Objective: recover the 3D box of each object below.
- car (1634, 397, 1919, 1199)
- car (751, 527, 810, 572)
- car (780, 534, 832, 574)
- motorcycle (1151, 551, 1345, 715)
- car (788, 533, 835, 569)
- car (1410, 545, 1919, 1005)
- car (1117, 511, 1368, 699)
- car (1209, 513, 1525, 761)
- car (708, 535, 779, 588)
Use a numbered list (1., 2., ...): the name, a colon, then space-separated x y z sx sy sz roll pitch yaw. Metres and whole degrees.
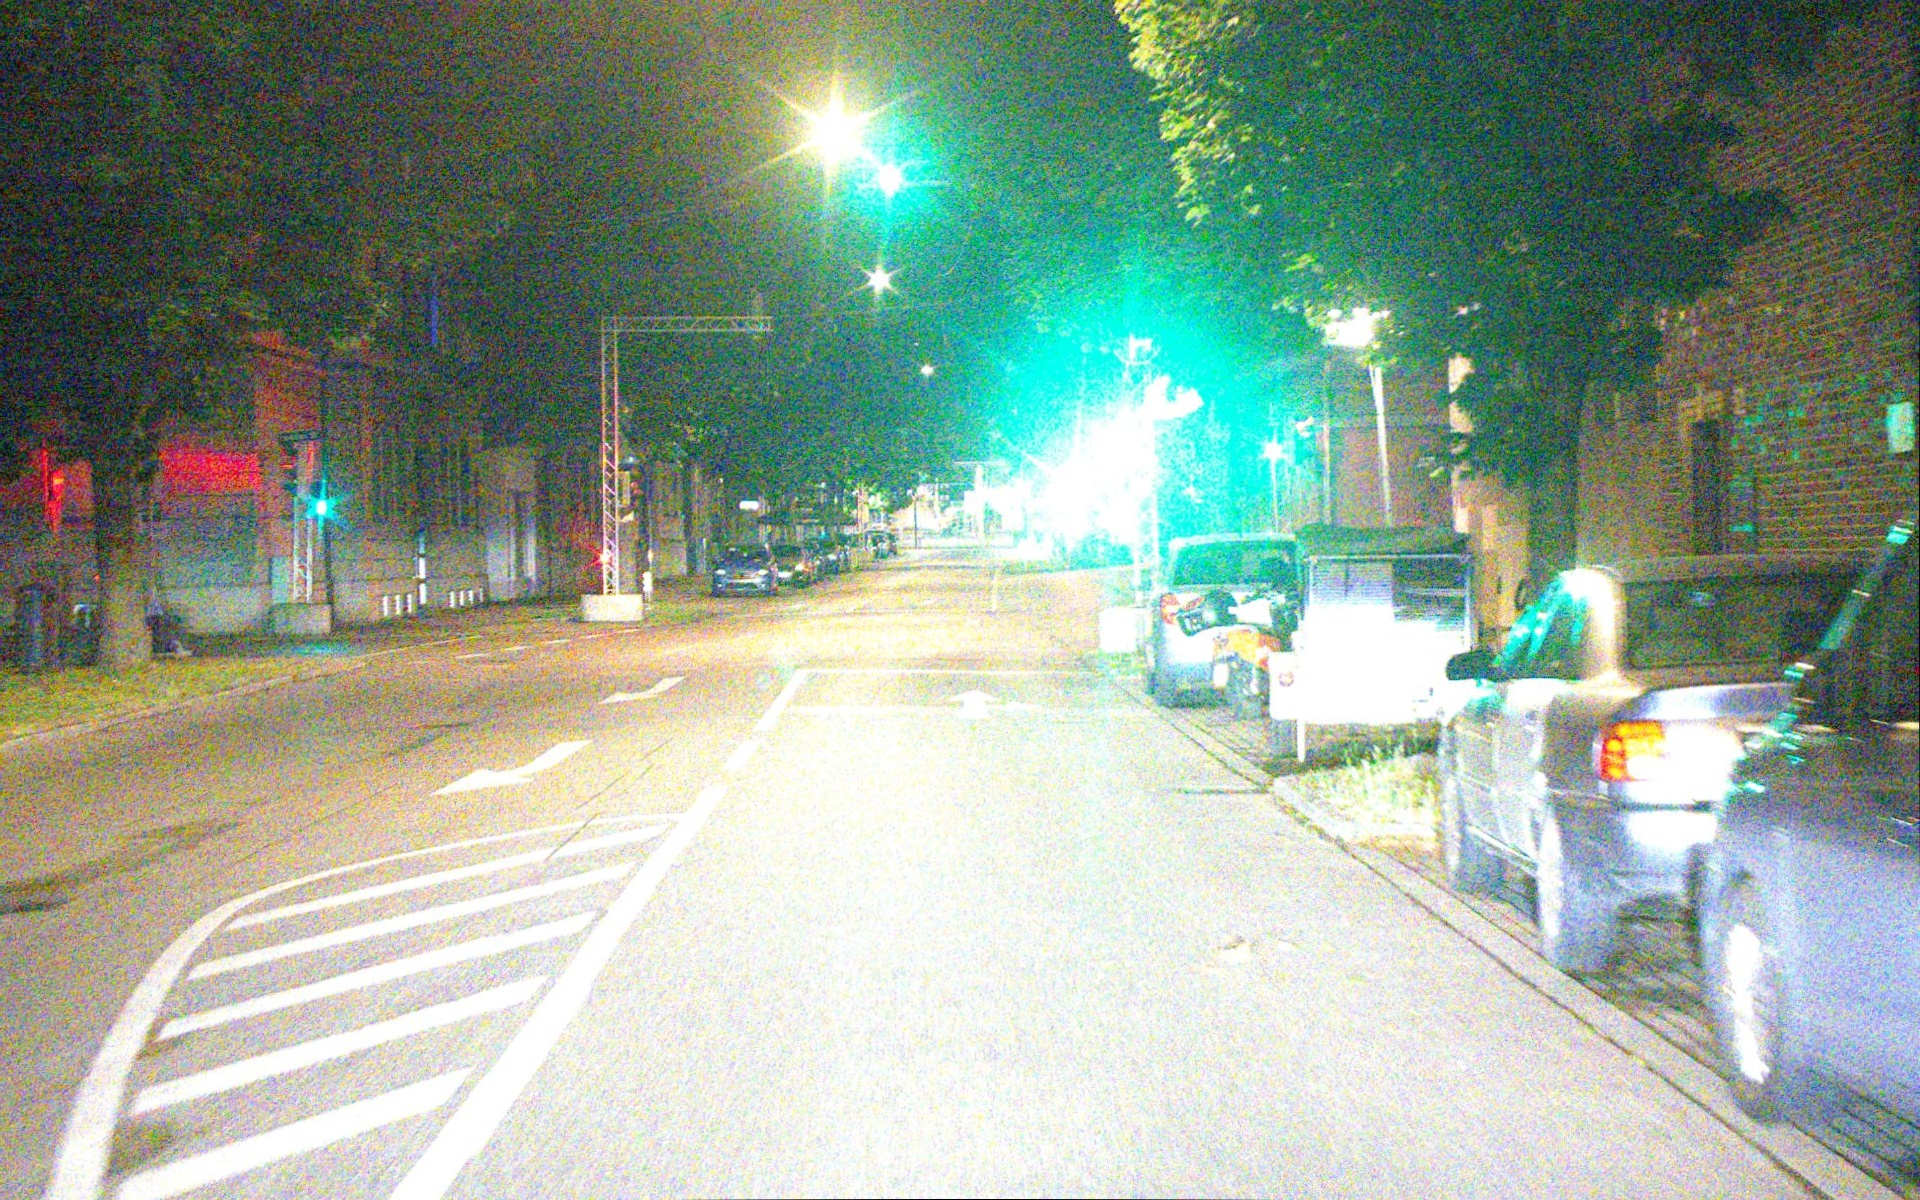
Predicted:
1. car: 2.900 0.433 7.402 1.771 1.800 4.278 -3 1 -3
2. car: -5.772 -1.640 110.984 1.740 1.411 3.752 -1 1 0
3. car: -5.556 -1.693 124.619 1.740 1.411 3.752 -1 1 0
4. motorcycle: 2.370 0.245 28.075 0.637 1.265 2.060 0 1 34
5. car: -5.961 -1.993 138.246 1.740 1.411 3.752 -1 1 0
6. car: 2.747 0.532 13.061 1.520 1.391 3.985 -2 1 0
7. car: 2.529 -0.007 31.751 1.853 1.584 4.301 -1 1 -1
8. car: 2.776 0.188 24.230 1.591 1.529 4.139 -3 1 -1
9. car: -5.968 -1.079 95.184 1.740 1.411 3.752 -1 1 0
